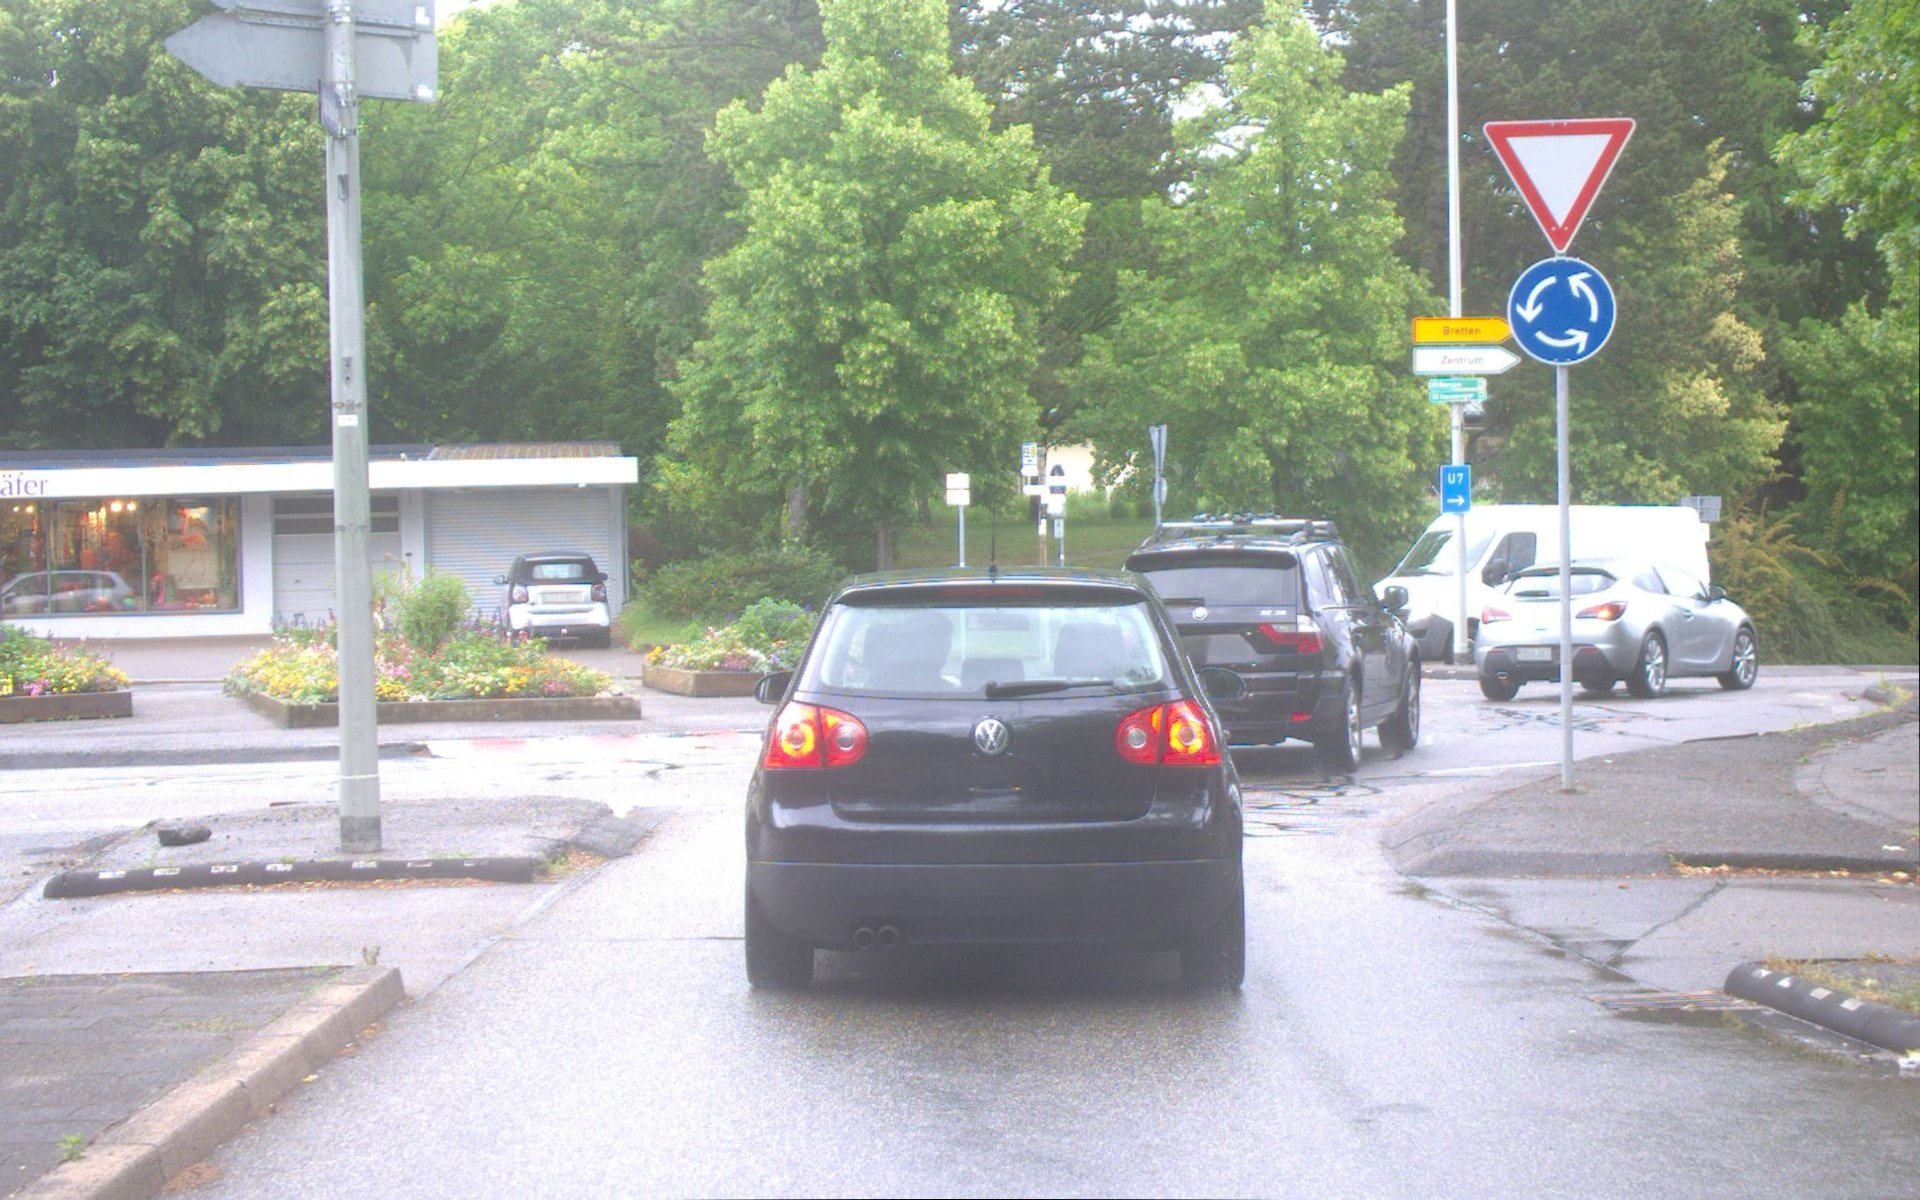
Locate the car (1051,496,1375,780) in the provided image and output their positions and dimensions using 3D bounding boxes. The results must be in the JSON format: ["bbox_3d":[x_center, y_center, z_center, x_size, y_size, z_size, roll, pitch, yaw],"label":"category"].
[{"bbox_3d":[1.717,0.240,24.644,1.764,1.795,4.246,-2,0,-3],"label":"car"}]

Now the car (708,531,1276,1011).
[{"bbox_3d":[0.277,0.536,13.147,1.765,1.533,3.999,0,0,6],"label":"car"}]

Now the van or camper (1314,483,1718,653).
[{"bbox_3d":[8.120,-0.438,50.034,5.650,2.370,2.201,0,0,-29],"label":"van or camper"}]

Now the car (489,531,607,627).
[{"bbox_3d":[-6.868,-0.360,57.088,1.812,1.481,3.832,-2,1,-8],"label":"car"}]

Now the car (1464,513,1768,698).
[{"bbox_3d":[6.964,0.022,36.168,1.768,1.795,4.239,-2,0,30],"label":"car"}]
